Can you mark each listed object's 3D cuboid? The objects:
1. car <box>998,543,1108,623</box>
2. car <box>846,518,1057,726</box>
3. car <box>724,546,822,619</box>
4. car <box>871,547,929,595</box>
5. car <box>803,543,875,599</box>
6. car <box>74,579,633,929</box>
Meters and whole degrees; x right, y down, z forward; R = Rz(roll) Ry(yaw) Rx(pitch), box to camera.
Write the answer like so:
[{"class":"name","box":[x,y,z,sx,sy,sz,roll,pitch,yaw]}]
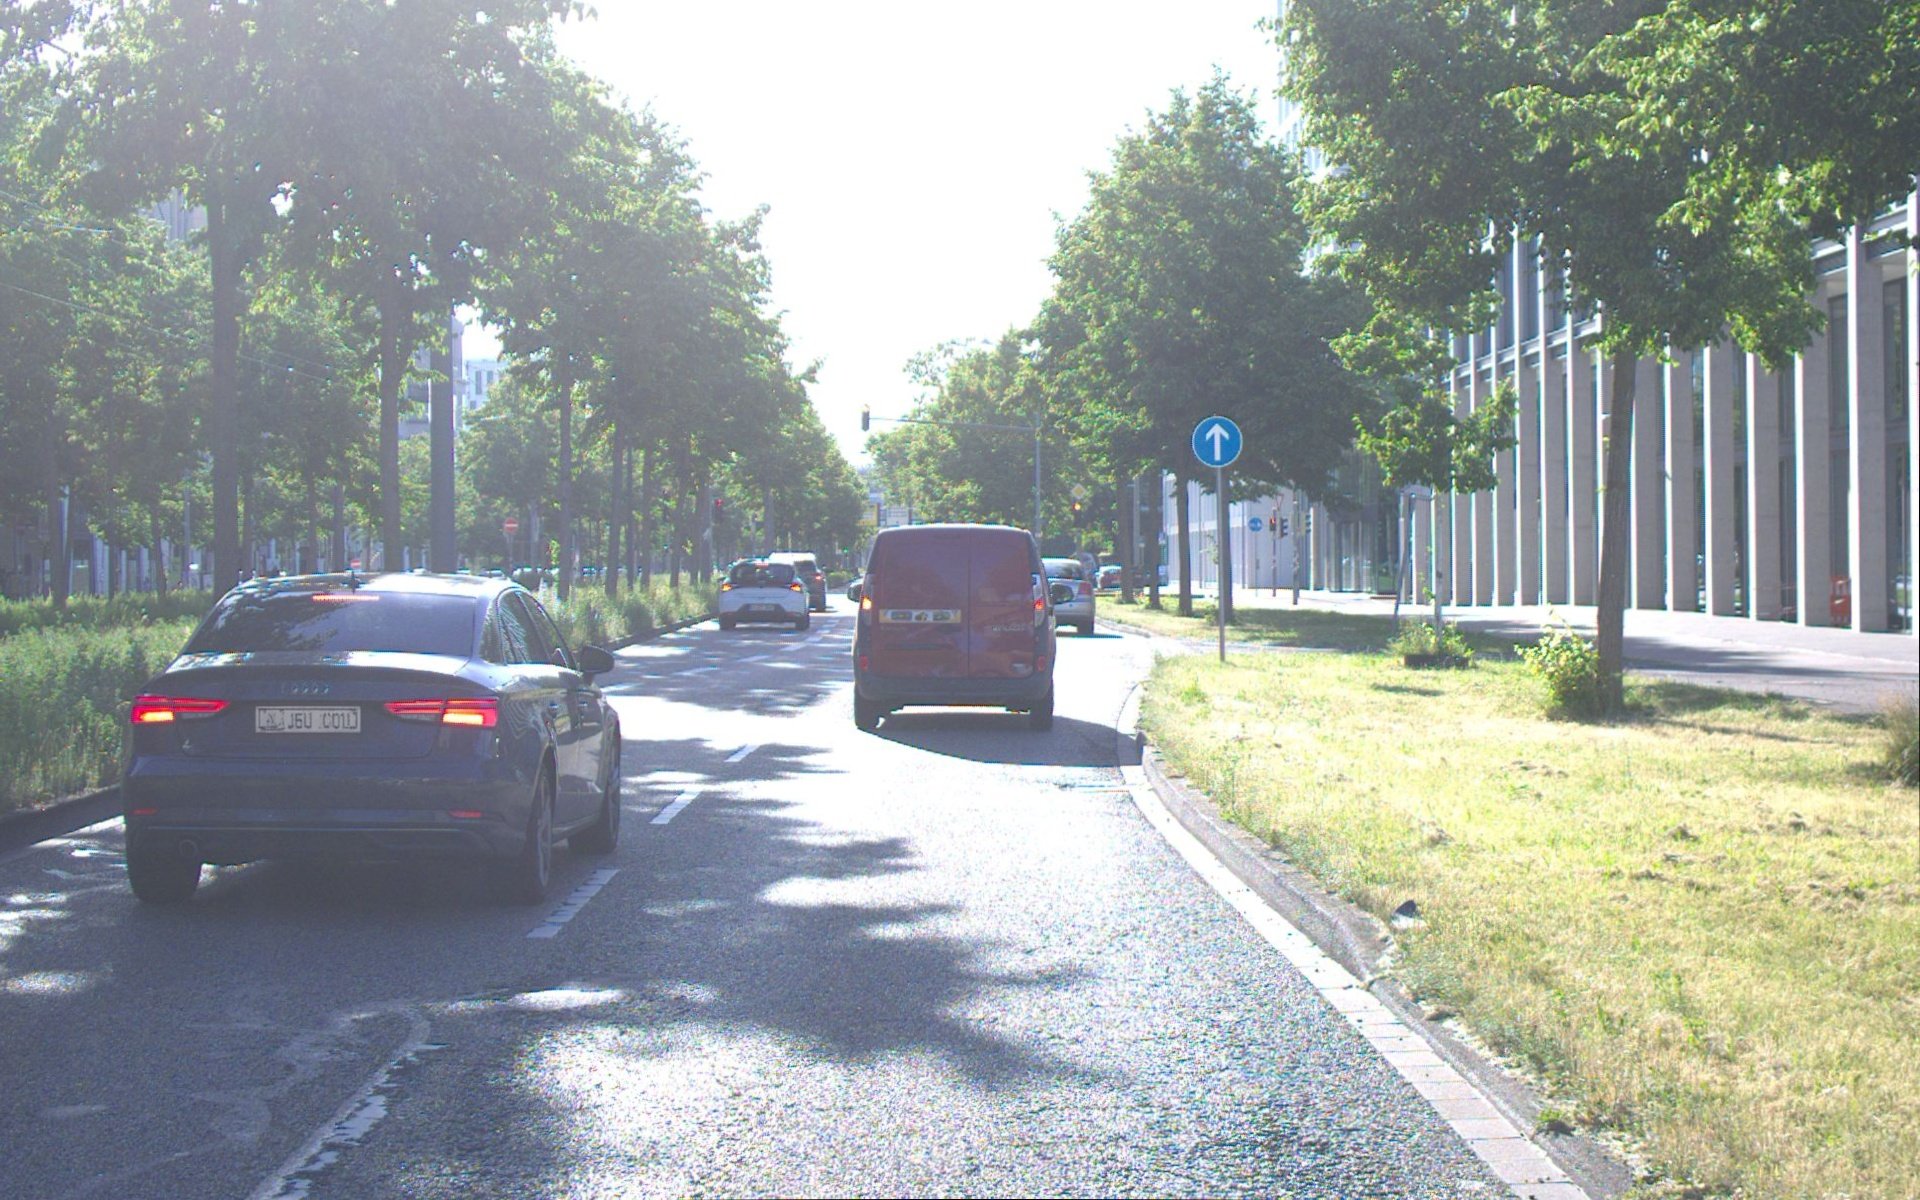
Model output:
[{"class":"car","box":[1.795,-0.360,67.289,1.720,1.420,3.817,1,2,-5]},{"class":"car","box":[-0.116,0.159,31.386,1.797,1.771,4.000,0,1,-1]},{"class":"car","box":[-3.811,-0.374,70.335,1.942,1.436,4.001,0,1,-3]},{"class":"car","box":[-1.807,-0.886,103.550,1.721,1.420,3.817,0,1,-1]},{"class":"car","box":[-3.372,-0.830,96.156,1.843,1.529,3.940,0,1,0]},{"class":"car","box":[-2.583,0.597,15.597,1.721,1.362,4.146,0,0,1]}]
